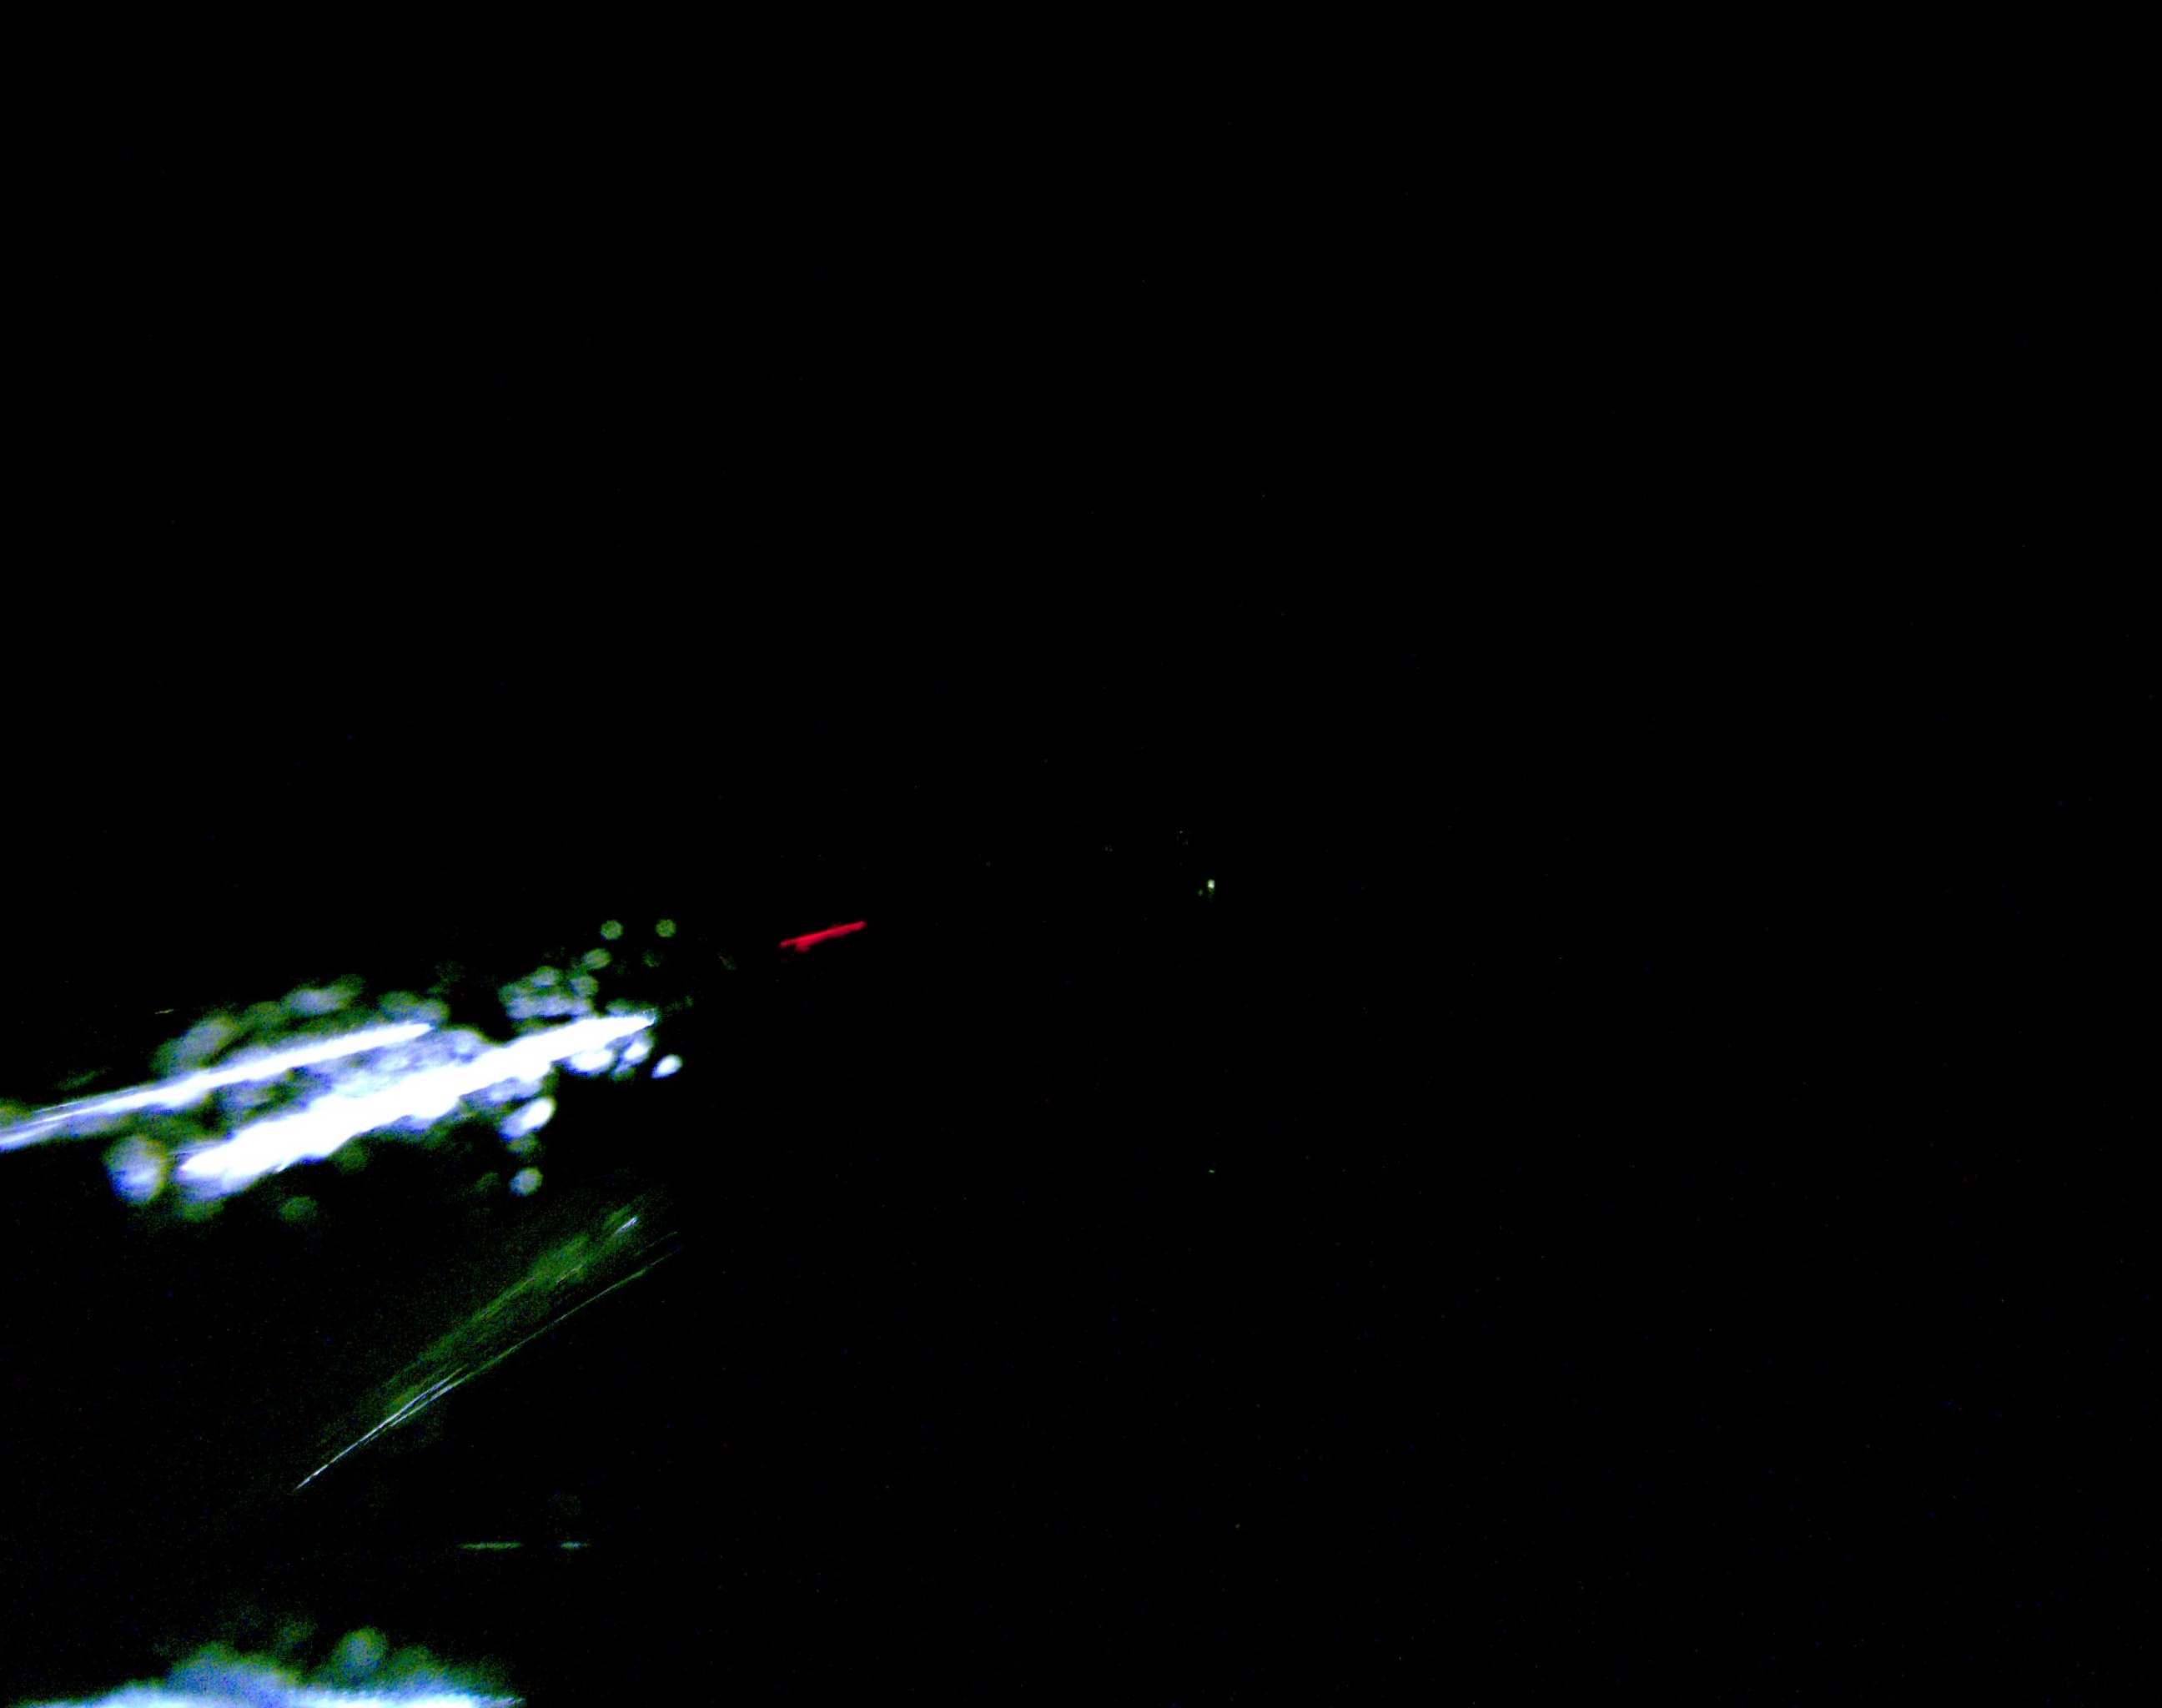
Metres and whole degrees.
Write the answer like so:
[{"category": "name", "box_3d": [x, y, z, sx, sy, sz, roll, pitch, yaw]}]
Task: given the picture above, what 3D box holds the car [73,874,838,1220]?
[{"category": "car", "box_3d": [-3.291, 0.881, 5.505, 1.986, 1.411, 4.001, -1, -1, 2]}]
